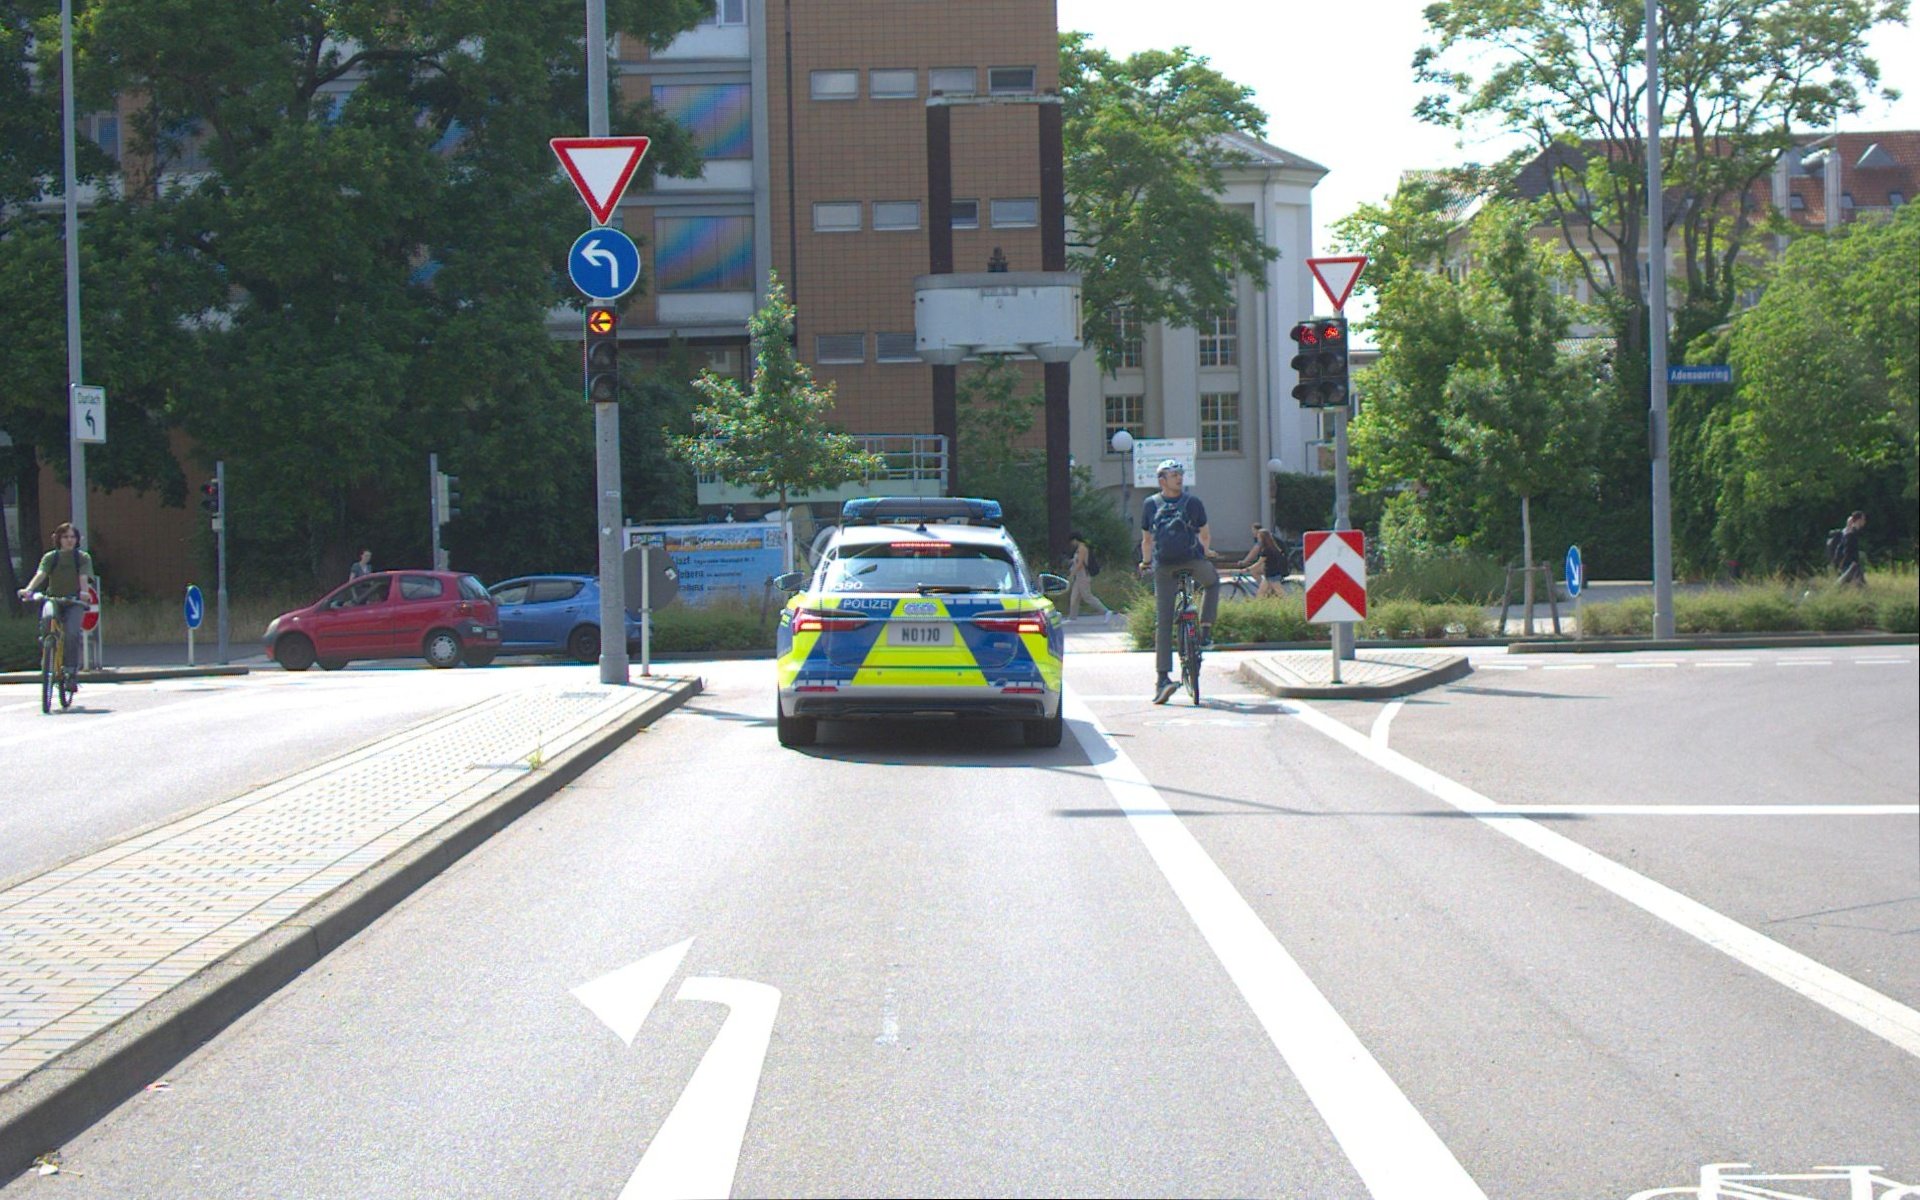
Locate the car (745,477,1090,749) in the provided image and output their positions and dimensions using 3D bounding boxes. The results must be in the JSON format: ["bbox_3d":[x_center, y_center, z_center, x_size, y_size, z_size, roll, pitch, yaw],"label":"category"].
[{"bbox_3d":[-0.292,0.034,23.343,2.130,1.678,4.103,0,1,-1],"label":"car"}]

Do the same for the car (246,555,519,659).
[{"bbox_3d":[-8.785,0.100,52.401,3.725,1.451,1.625,-1,1,12],"label":"car"}]

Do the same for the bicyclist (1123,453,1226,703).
[{"bbox_3d":[1.729,-0.192,27.796,0.718,1.966,0.839,-2,2,-1],"label":"bicyclist"}]

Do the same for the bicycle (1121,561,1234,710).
[{"bbox_3d":[1.746,0.266,27.889,0.720,1.080,2.191,-2,2,-1],"label":"bicycle"}]

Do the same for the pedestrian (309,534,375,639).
[{"bbox_3d":[-11.238,-0.256,62.558,0.943,1.876,0.908,-2,1,3],"label":"pedestrian"}]

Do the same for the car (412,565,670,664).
[{"bbox_3d":[-6.676,0.231,54.879,3.725,1.451,1.625,-1,1,12],"label":"car"}]

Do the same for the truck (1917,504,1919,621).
[{"bbox_3d":[16.020,-0.493,47.502,5.117,1.831,1.999,-1,1,8],"label":"truck"}]

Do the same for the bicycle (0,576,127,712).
[{"bbox_3d":[-8.049,0.373,30.841,0.634,1.080,2.191,-2,2,-2],"label":"bicycle"}]

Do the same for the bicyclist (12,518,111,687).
[{"bbox_3d":[-8.064,0.012,30.874,0.634,1.465,0.839,-2,2,-1],"label":"bicyclist"}]
